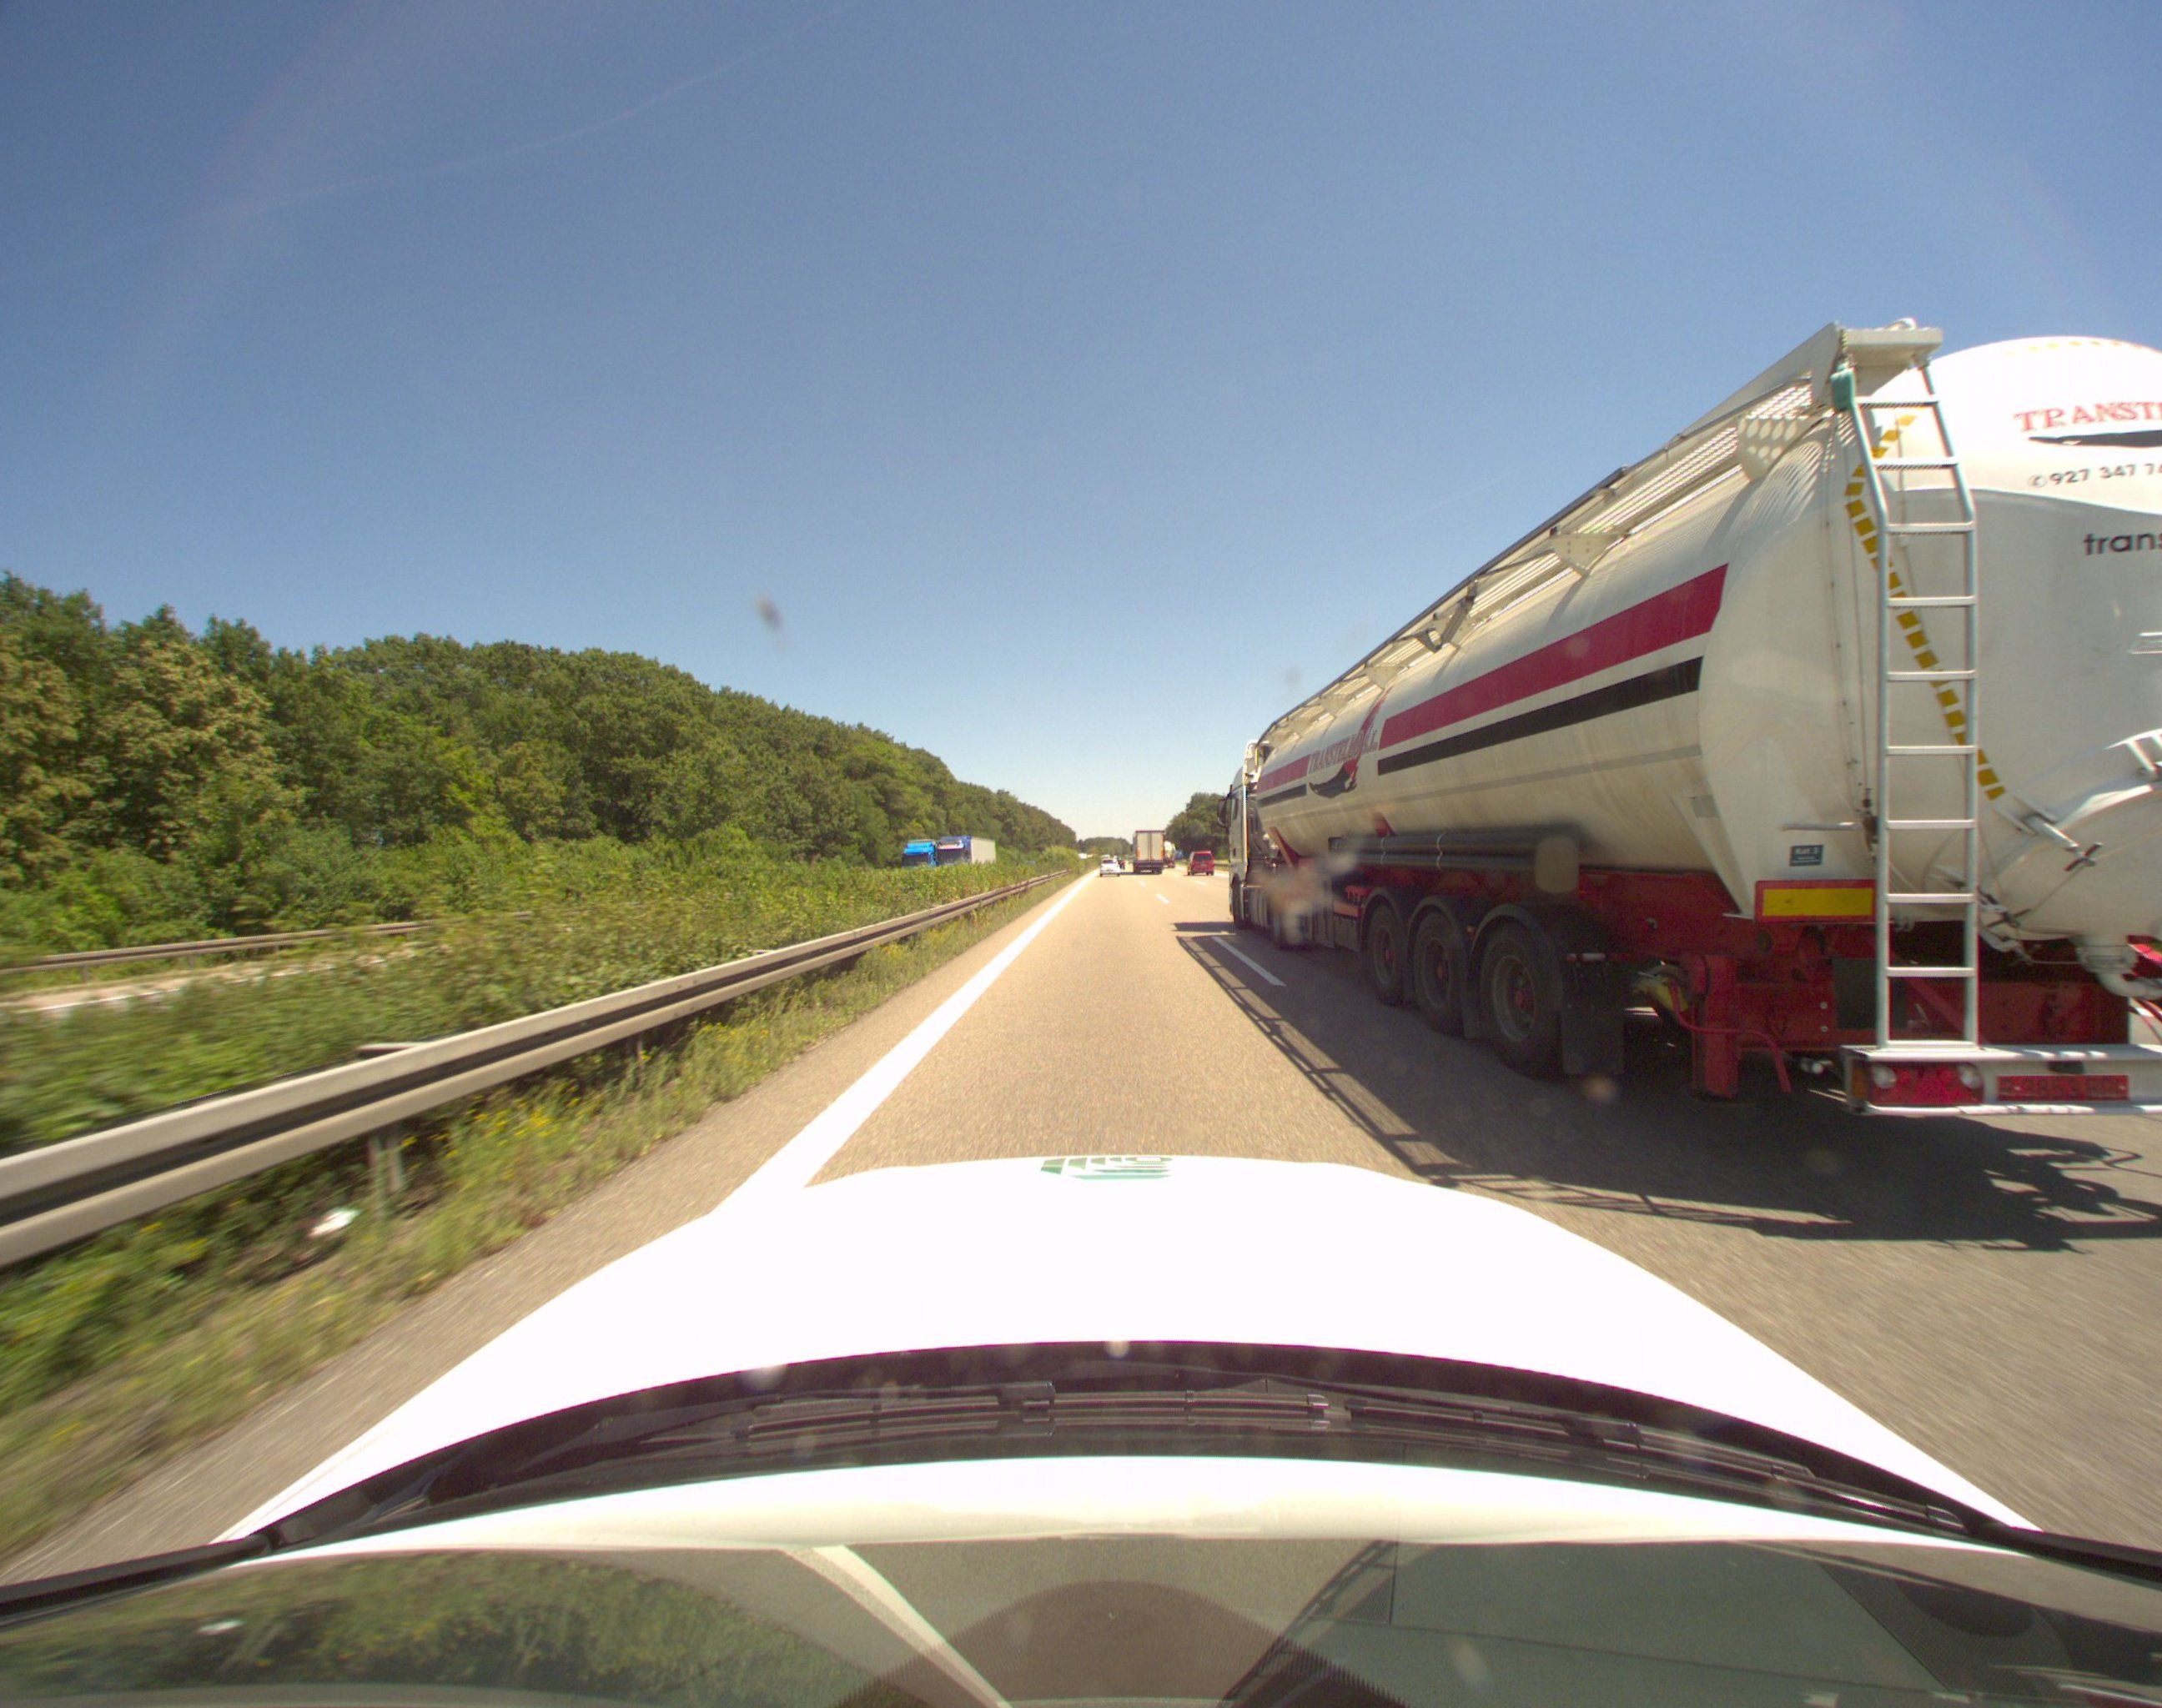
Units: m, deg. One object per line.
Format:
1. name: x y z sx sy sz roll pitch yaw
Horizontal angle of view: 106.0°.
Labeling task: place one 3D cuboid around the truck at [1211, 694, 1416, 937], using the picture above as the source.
1. truck: 4.501 -0.674 16.880 2.780 4.204 5.001 -2 0 1

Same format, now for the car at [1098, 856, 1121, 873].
1. car: 2.424 0.882 68.943 1.805 1.405 3.317 -2 0 0

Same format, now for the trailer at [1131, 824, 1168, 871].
1. trailer: 6.534 -0.586 78.916 3.209 4.143 12.364 -2 0 4

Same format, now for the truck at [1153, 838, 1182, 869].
1. truck: 12.817 -0.026 121.058 3.212 4.345 10.808 -2 0 1

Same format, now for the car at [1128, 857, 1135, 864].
1. car: 12.682 1.672 203.822 1.661 1.765 4.002 -2 0 2

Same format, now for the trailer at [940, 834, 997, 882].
1. trailer: -10.159 0.359 75.280 2.859 4.009 13.524 -2 0 2

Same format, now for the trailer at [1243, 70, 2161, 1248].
1. trailer: 4.369 -0.716 9.097 2.780 4.204 12.354 -2 0 1

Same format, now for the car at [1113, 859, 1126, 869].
1. car: 5.178 1.399 110.278 1.661 1.289 4.002 -2 0 2

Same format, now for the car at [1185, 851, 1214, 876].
1. car: 10.057 0.764 69.231 1.848 2.003 5.524 -1 0 2

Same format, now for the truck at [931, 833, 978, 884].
1. truck: -10.421 0.338 67.647 2.859 4.009 5.002 -2 0 2

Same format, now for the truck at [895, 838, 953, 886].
1. truck: -14.481 0.707 76.112 3.002 4.114 10.005 -2 0 2
